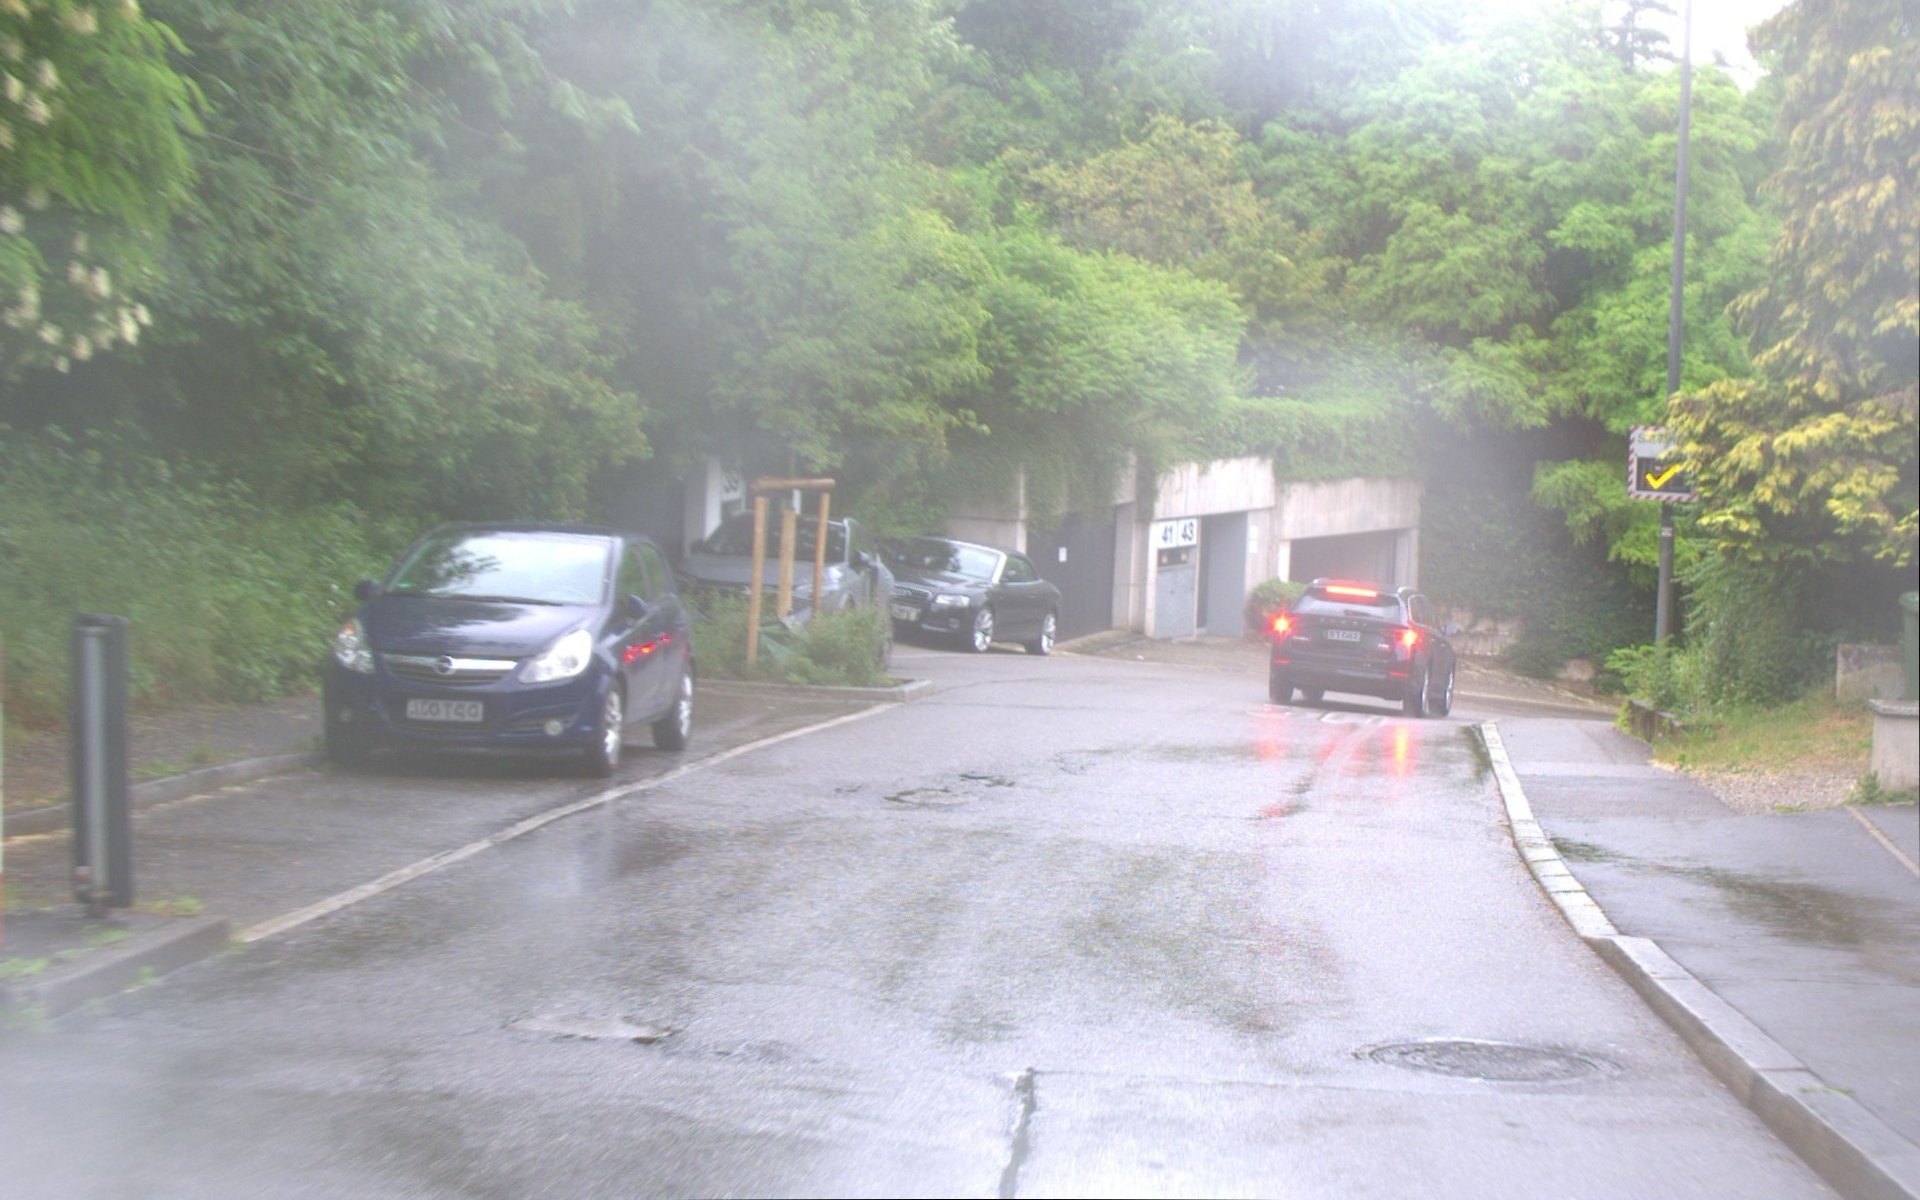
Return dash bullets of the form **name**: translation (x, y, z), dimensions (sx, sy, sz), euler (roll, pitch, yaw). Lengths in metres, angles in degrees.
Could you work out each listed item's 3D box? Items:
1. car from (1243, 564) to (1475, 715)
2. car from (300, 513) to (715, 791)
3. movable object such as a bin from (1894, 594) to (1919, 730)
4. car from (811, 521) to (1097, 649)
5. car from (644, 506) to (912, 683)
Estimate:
- **car**: translation (4.670, 0.464, 39.735), dimensions (1.870, 1.507, 4.089), euler (5, 0, 17)
- **car**: translation (-2.673, 0.237, 21.172), dimensions (1.700, 1.466, 4.000), euler (3, 2, 4)
- **movable object such as a bin**: translation (7.809, 0.493, 27.417), dimensions (0.561, 1.063, 0.702), euler (1, 1, 5)
- **car**: translation (-0.010, -0.185, 44.974), dimensions (1.996, 1.503, 4.564), euler (3, 1, 24)
- **car**: translation (-1.804, -0.077, 35.504), dimensions (1.994, 1.635, 3.999), euler (3, 1, 8)
